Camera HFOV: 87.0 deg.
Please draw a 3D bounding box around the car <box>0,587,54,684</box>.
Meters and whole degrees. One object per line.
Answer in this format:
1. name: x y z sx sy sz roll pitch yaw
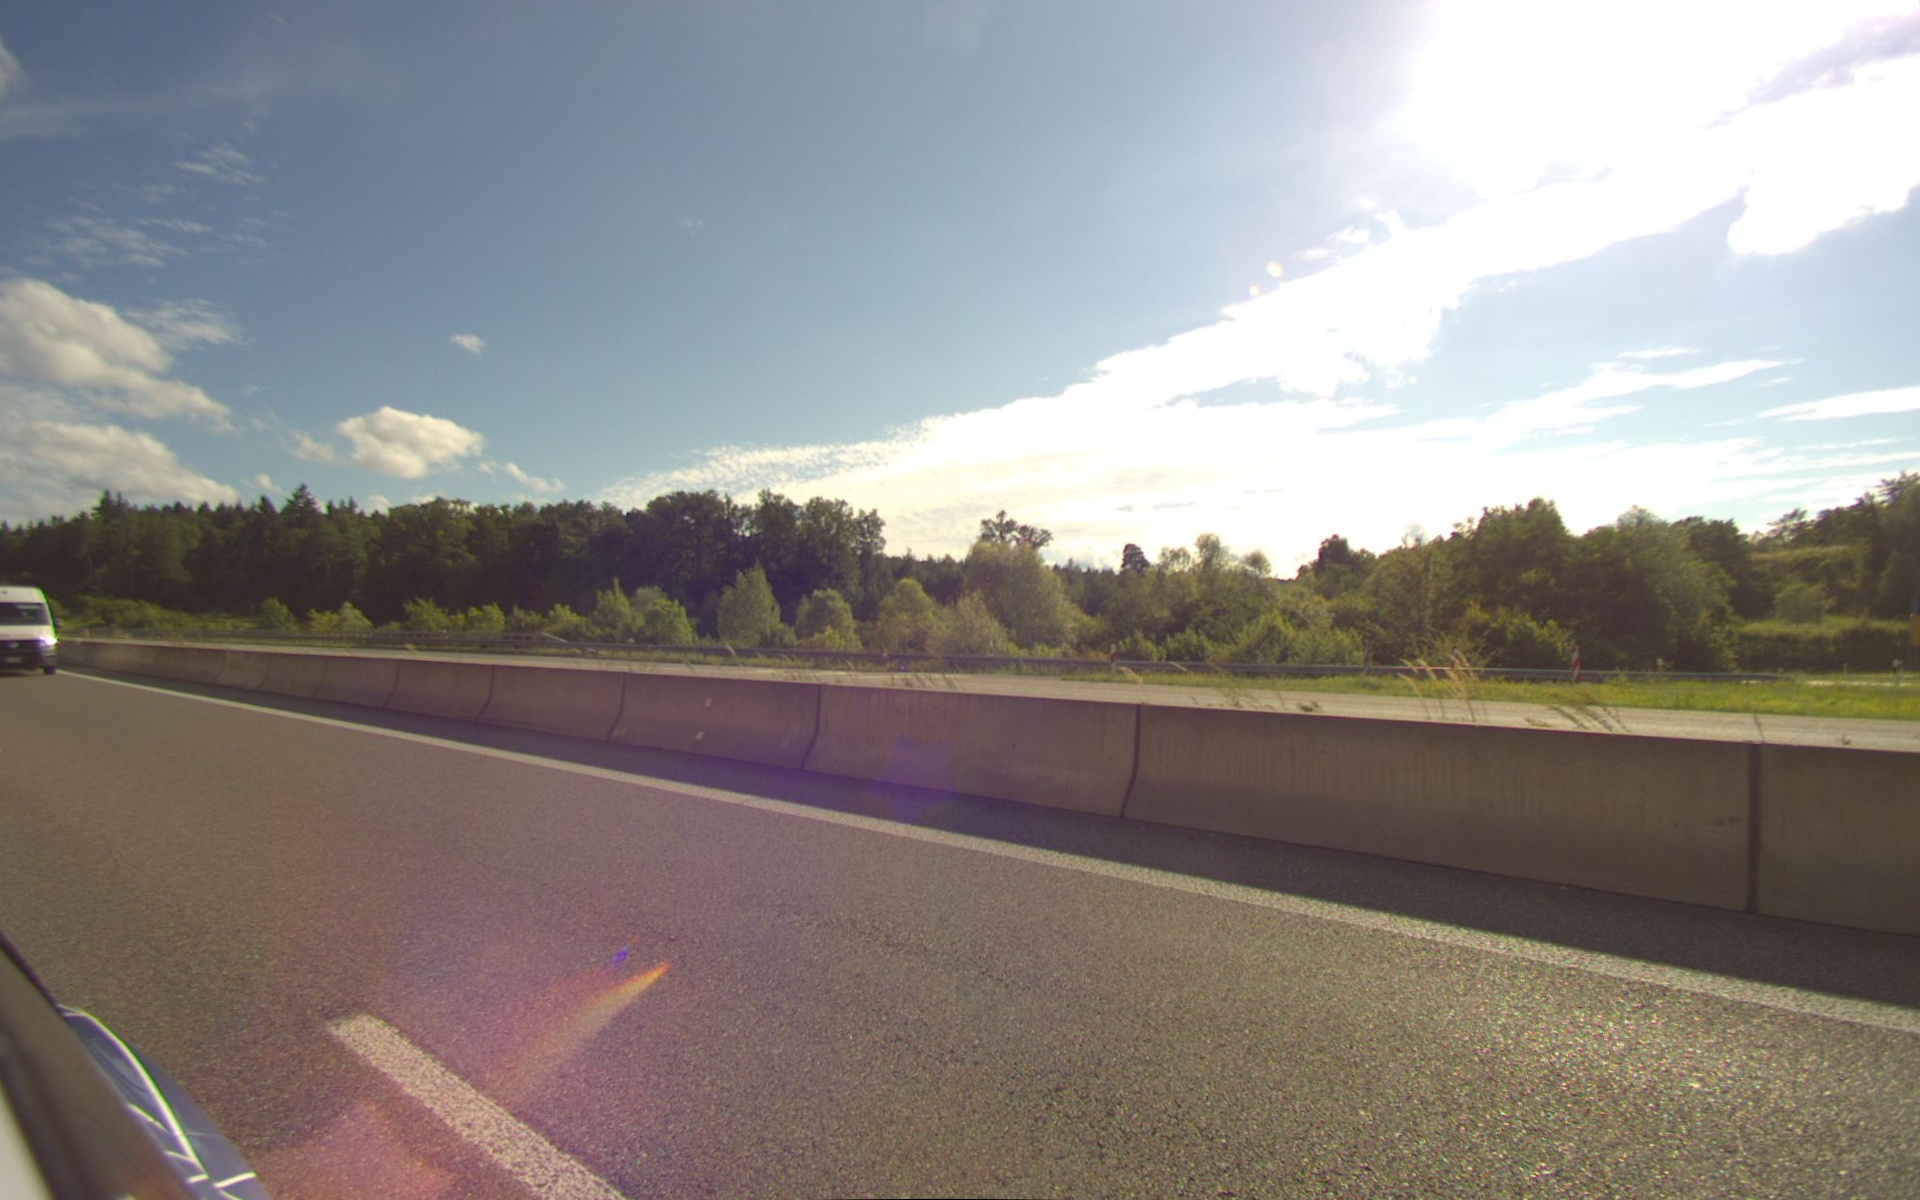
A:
1. car: -28.099 1.007 29.477 6.182 2.619 1.993 -1 -1 43
